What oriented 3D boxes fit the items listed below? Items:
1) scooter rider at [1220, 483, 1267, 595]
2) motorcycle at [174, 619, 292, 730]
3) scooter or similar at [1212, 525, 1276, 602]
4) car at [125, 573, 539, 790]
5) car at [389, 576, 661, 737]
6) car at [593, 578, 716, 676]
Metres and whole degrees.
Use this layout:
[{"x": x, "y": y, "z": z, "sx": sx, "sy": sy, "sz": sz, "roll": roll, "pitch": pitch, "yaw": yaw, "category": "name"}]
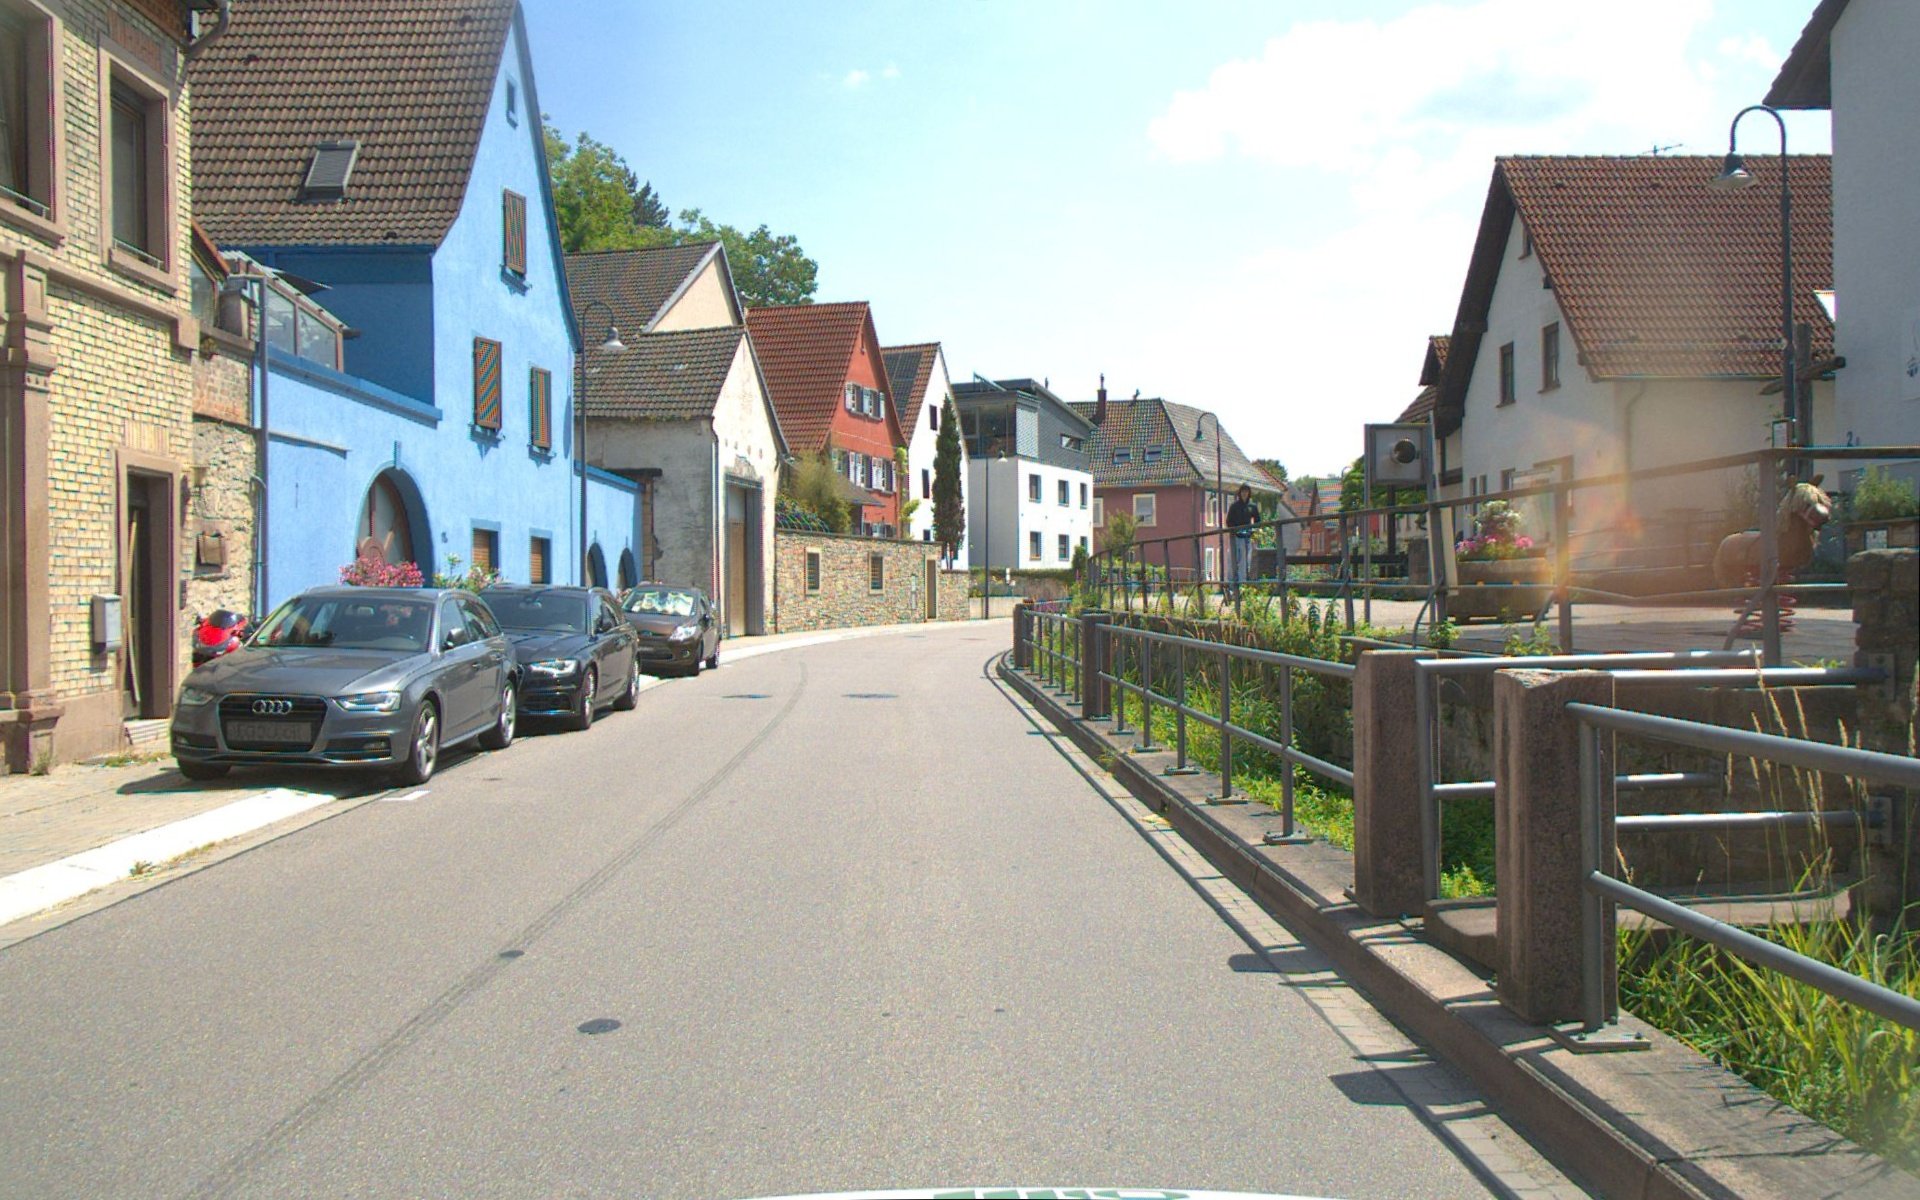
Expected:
[{"x": 4.490, "y": -0.959, "z": 26.211, "sx": 0.628, "sy": 1.762, "sz": 0.554, "roll": 0, "pitch": 0, "yaw": -2, "category": "scooter rider"}, {"x": -7.342, "y": 0.726, "z": 16.783, "sx": 0.409, "sy": 1.018, "sz": 1.857, "roll": 4, "pitch": -1, "yaw": -4, "category": "motorcycle"}, {"x": 4.510, "y": -0.559, "z": 26.347, "sx": 0.628, "sy": 1.162, "sz": 1.811, "roll": -2, "pitch": 0, "yaw": -1, "category": "scooter or similar"}, {"x": -4.925, "y": 0.577, "z": 13.747, "sx": 1.918, "sy": 1.491, "sz": 4.542, "roll": 0, "pitch": 0, "yaw": -3, "category": "car"}, {"x": -4.713, "y": 0.528, "z": 18.650, "sx": 1.847, "sy": 1.489, "sz": 4.668, "roll": 2, "pitch": 1, "yaw": -1, "category": "car"}, {"x": -5.288, "y": 0.460, "z": 29.018, "sx": 1.683, "sy": 1.557, "sz": 3.852, "roll": -2, "pitch": -1, "yaw": -5, "category": "car"}]
